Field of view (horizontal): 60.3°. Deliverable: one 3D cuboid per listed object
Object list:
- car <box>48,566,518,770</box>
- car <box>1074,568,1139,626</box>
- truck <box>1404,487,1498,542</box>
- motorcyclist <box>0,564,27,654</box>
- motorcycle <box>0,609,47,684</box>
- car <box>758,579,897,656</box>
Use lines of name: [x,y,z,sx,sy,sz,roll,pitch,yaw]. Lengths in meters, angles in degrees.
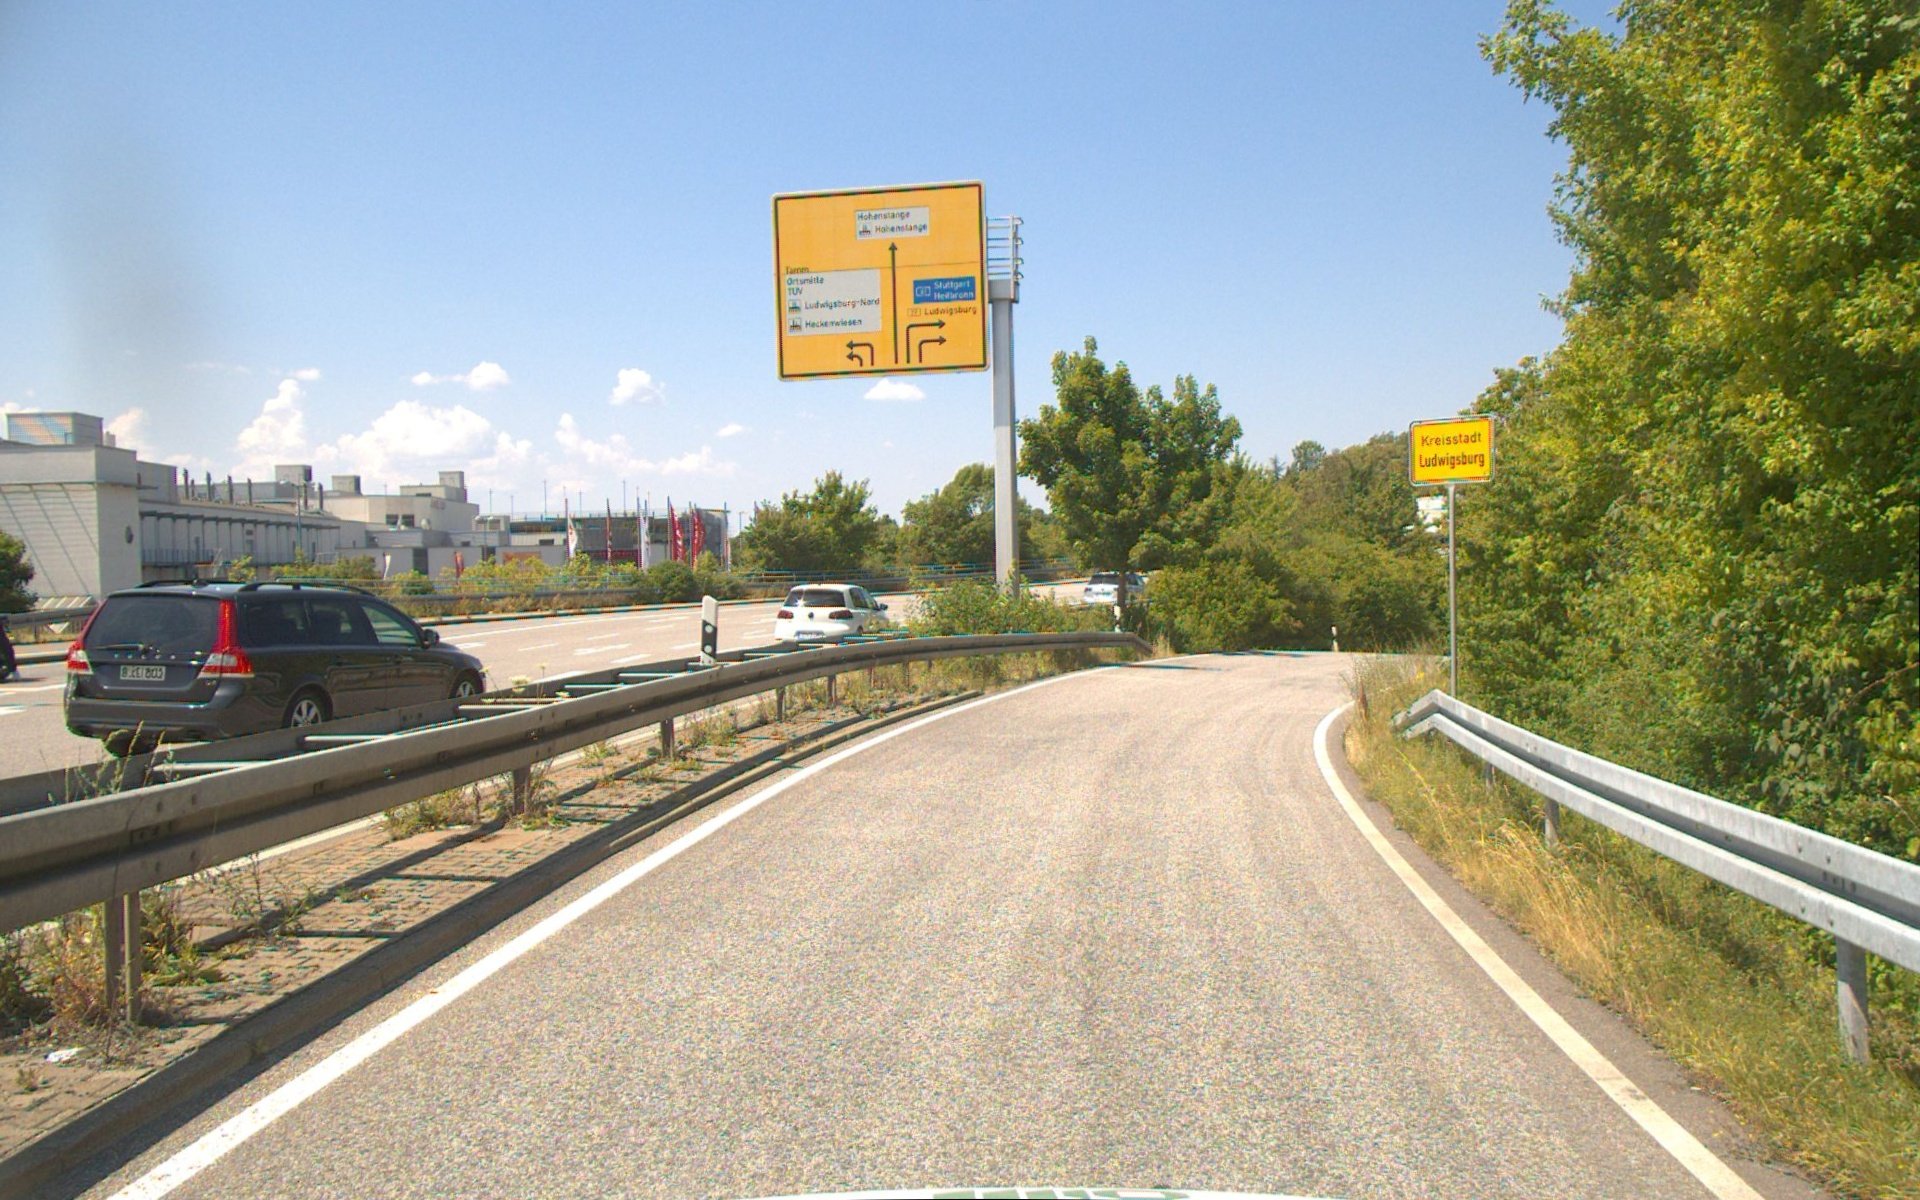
car: [-5.932,0.530,15.244,1.694,1.572,4.738,-1,0,10]
car: [5.492,-0.143,61.831,1.699,2.048,3.790,-3,0,15]
truck: [35.827,-6.210,120.558,2.983,3.652,8.851,-2,1,42]
motorcyclist: [-14.592,0.145,24.850,0.661,1.325,0.723,-3,0,0]
motorcycle: [-14.574,0.702,24.705,0.551,1.099,2.285,-2,0,0]
car: [-2.716,0.341,34.811,1.951,1.512,4.139,0,0,10]
